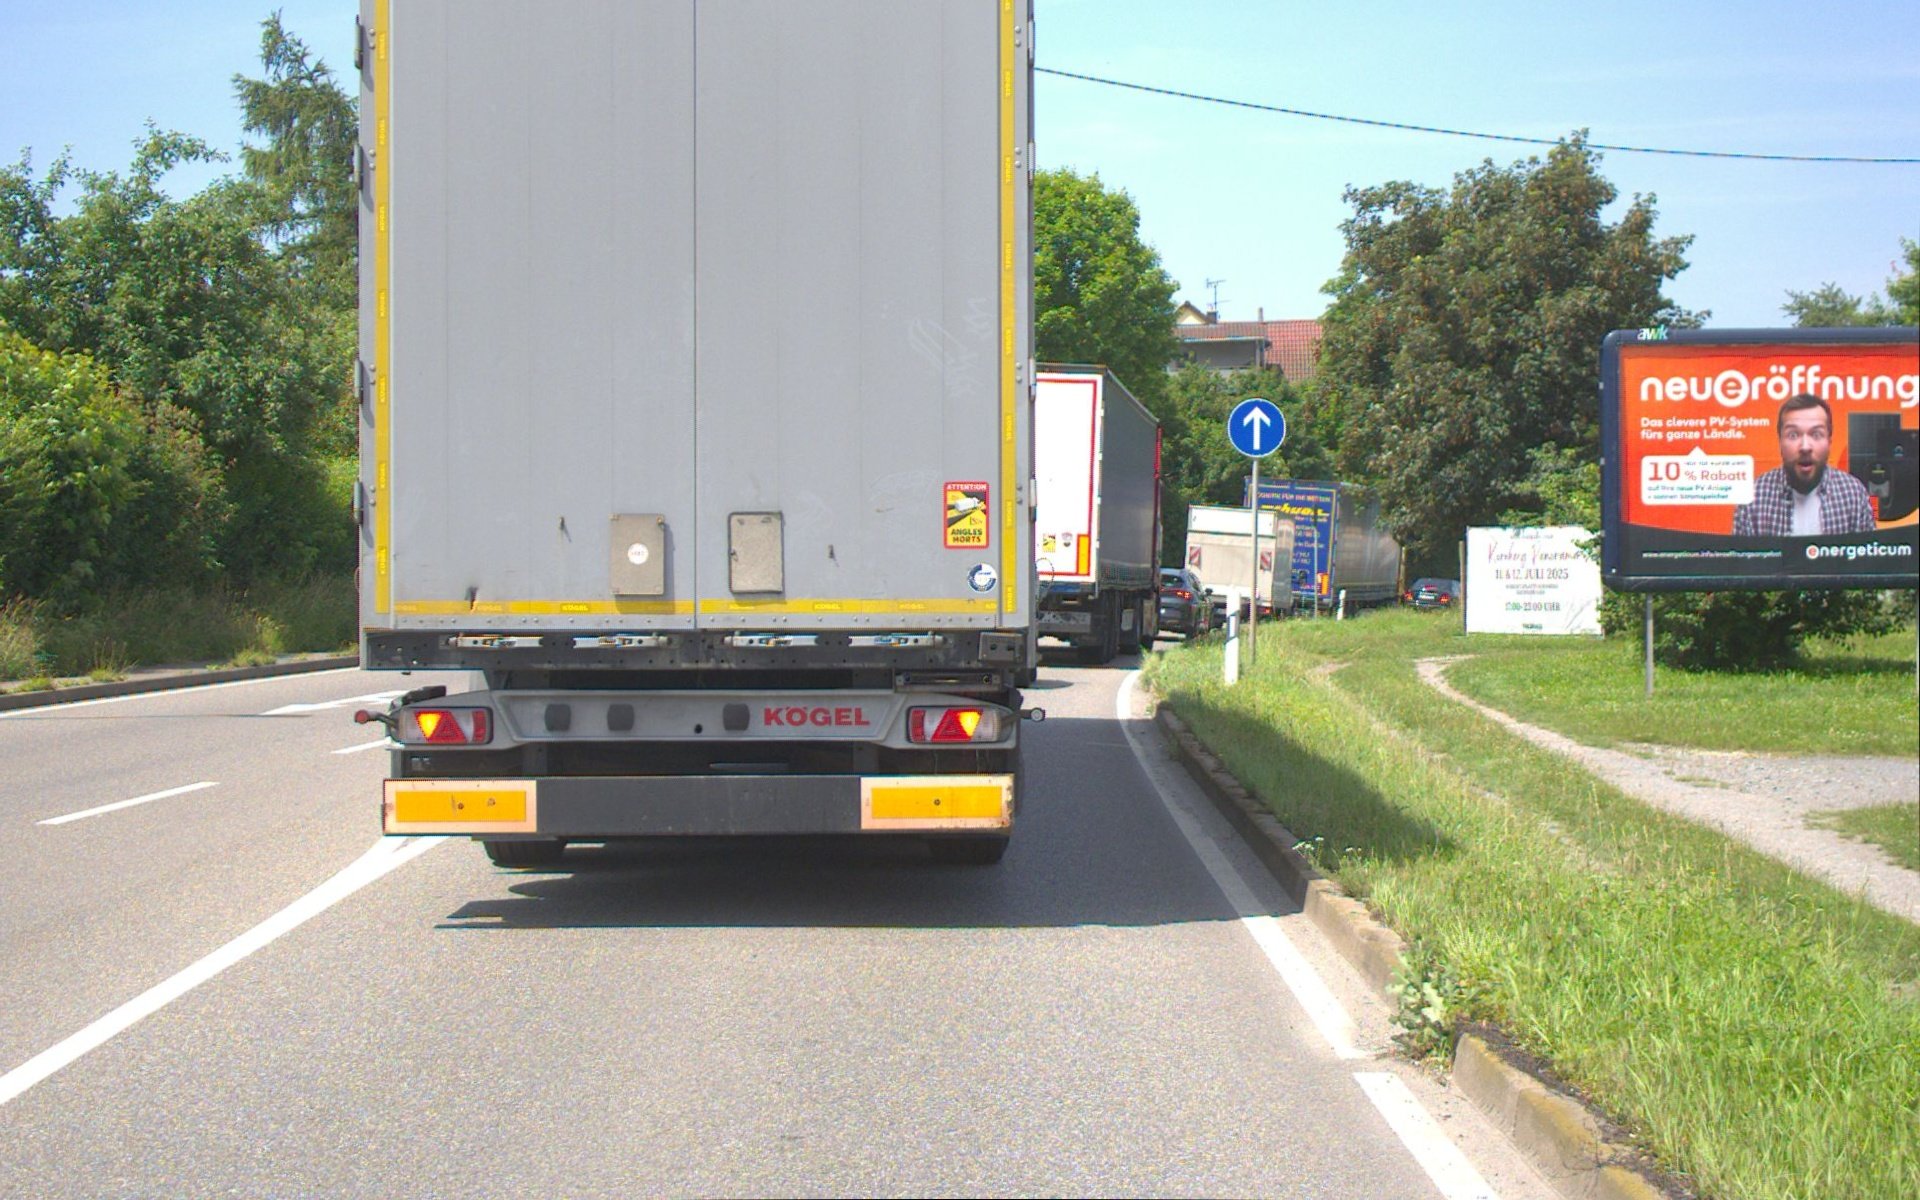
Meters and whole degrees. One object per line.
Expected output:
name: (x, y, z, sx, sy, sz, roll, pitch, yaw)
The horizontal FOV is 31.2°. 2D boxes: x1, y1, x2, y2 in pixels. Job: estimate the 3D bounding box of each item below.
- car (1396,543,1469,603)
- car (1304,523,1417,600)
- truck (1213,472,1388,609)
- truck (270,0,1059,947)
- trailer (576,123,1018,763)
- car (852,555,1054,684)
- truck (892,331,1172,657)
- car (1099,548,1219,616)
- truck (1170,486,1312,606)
car: (16.253, -0.931, 118.179, 1.995, 2.007, 3.997, 1, 0, 15)
car: (12.355, -1.219, 105.699, 2.533, 2.269, 6.377, 1, 1, 15)
truck: (9.599, -1.698, 95.880, 3.435, 3.592, 9.348, 1, 2, 14)
truck: (-1.064, -0.942, 18.184, 2.822, 4.113, 11.444, 1, 1, 0)
trailer: (-1.051, -1.079, 25.377, 2.825, 4.097, 6.544, 0, 1, 0)
car: (-0.025, 0.201, 38.556, 1.819, 1.342, 3.846, 1, 0, 7)
truck: (1.447, -1.432, 53.467, 2.761, 4.274, 16.411, 1, 0, 7)
car: (4.262, -0.379, 73.089, 1.994, 1.371, 3.998, 1, 0, 11)
truck: (6.956, -1.290, 84.456, 2.545, 2.793, 6.028, 1, 0, 13)
